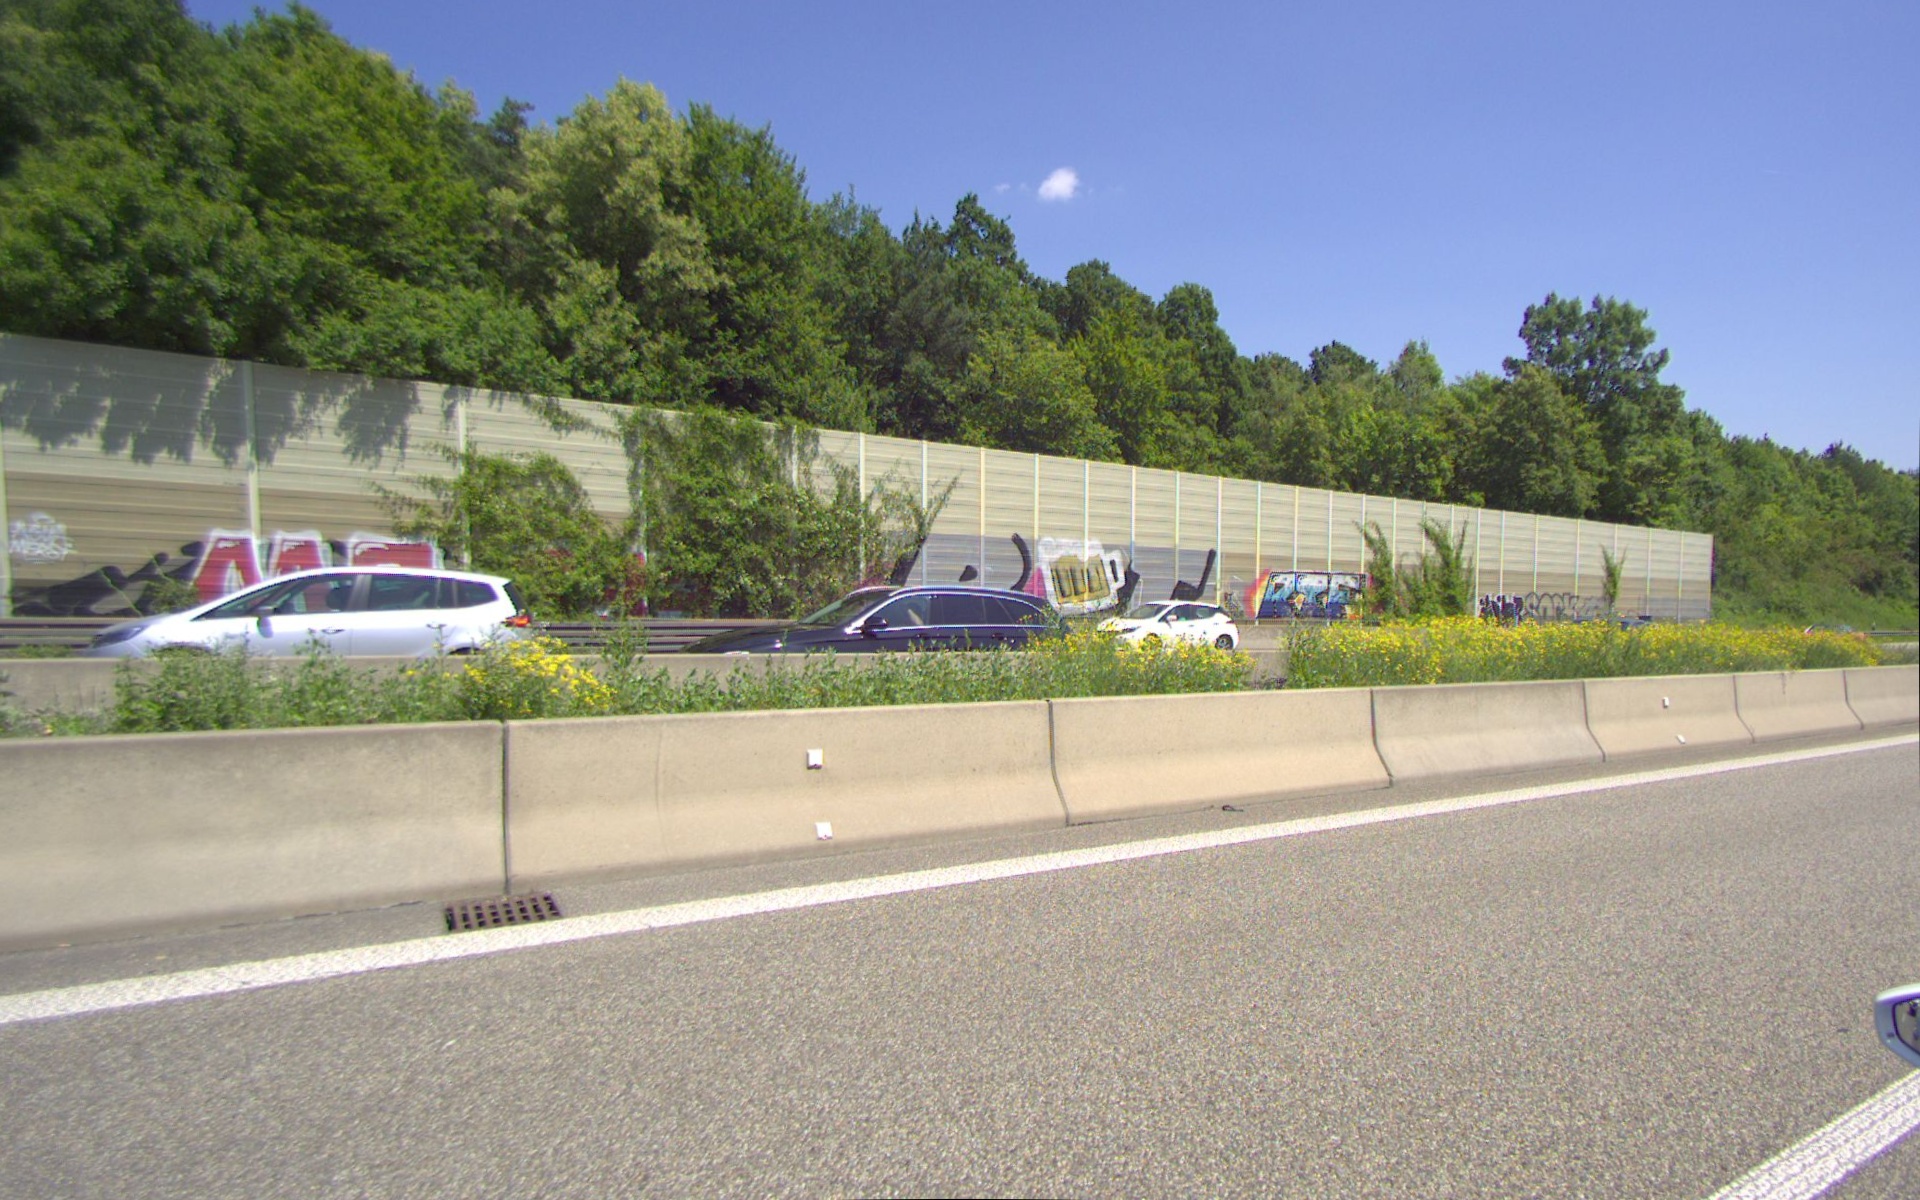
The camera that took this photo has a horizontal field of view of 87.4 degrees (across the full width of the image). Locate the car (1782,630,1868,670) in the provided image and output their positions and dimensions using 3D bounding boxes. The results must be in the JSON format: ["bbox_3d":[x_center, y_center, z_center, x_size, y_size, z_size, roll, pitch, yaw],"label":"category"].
[{"bbox_3d":[38.733,2.235,44.965,4.140,1.662,1.730,2,0,-31],"label":"car"}]

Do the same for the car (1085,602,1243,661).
[{"bbox_3d":[5.638,0.856,27.618,4.262,1.502,1.622,1,0,-30],"label":"car"}]

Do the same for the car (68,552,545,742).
[{"bbox_3d":[-7.564,0.532,12.152,4.453,1.924,1.984,2,0,-30],"label":"car"}]

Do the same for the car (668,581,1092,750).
[{"bbox_3d":[-0.838,0.680,11.683,4.636,1.645,1.715,1,0,-31],"label":"car"}]
